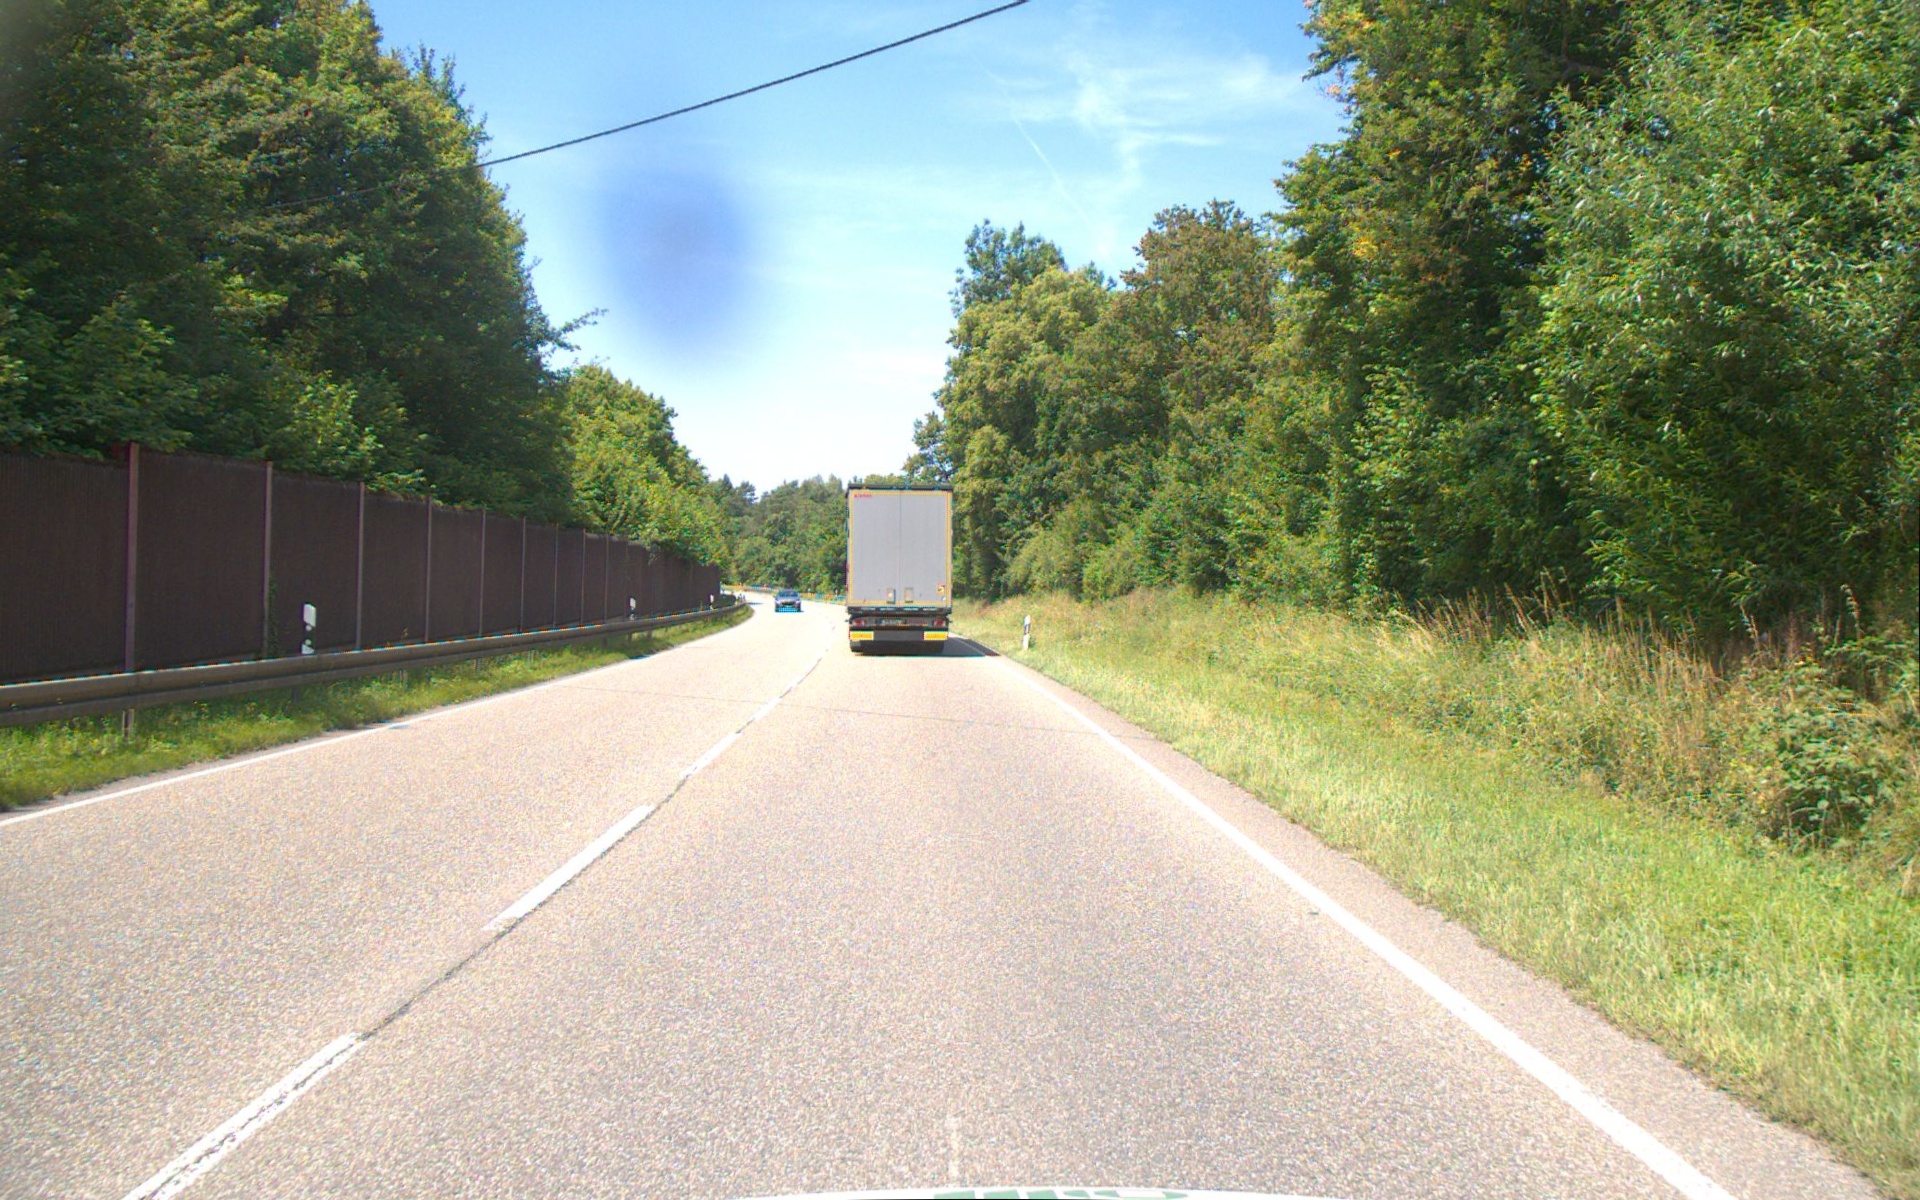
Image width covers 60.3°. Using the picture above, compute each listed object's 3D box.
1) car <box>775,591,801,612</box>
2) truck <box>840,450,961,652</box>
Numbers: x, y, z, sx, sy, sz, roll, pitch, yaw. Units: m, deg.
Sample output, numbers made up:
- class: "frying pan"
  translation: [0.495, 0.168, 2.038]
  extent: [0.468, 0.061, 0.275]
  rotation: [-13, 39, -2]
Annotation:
- class: "car"
  translation: [-12.167, 0.096, 116.706]
  extent: [1.587, 1.517, 3.609]
  rotation: [0, 0, -9]
- class: "truck"
  translation: [-1.413, -1.116, 42.033]
  extent: [2.765, 4.684, 6.664]
  rotation: [1, -1, 0]
